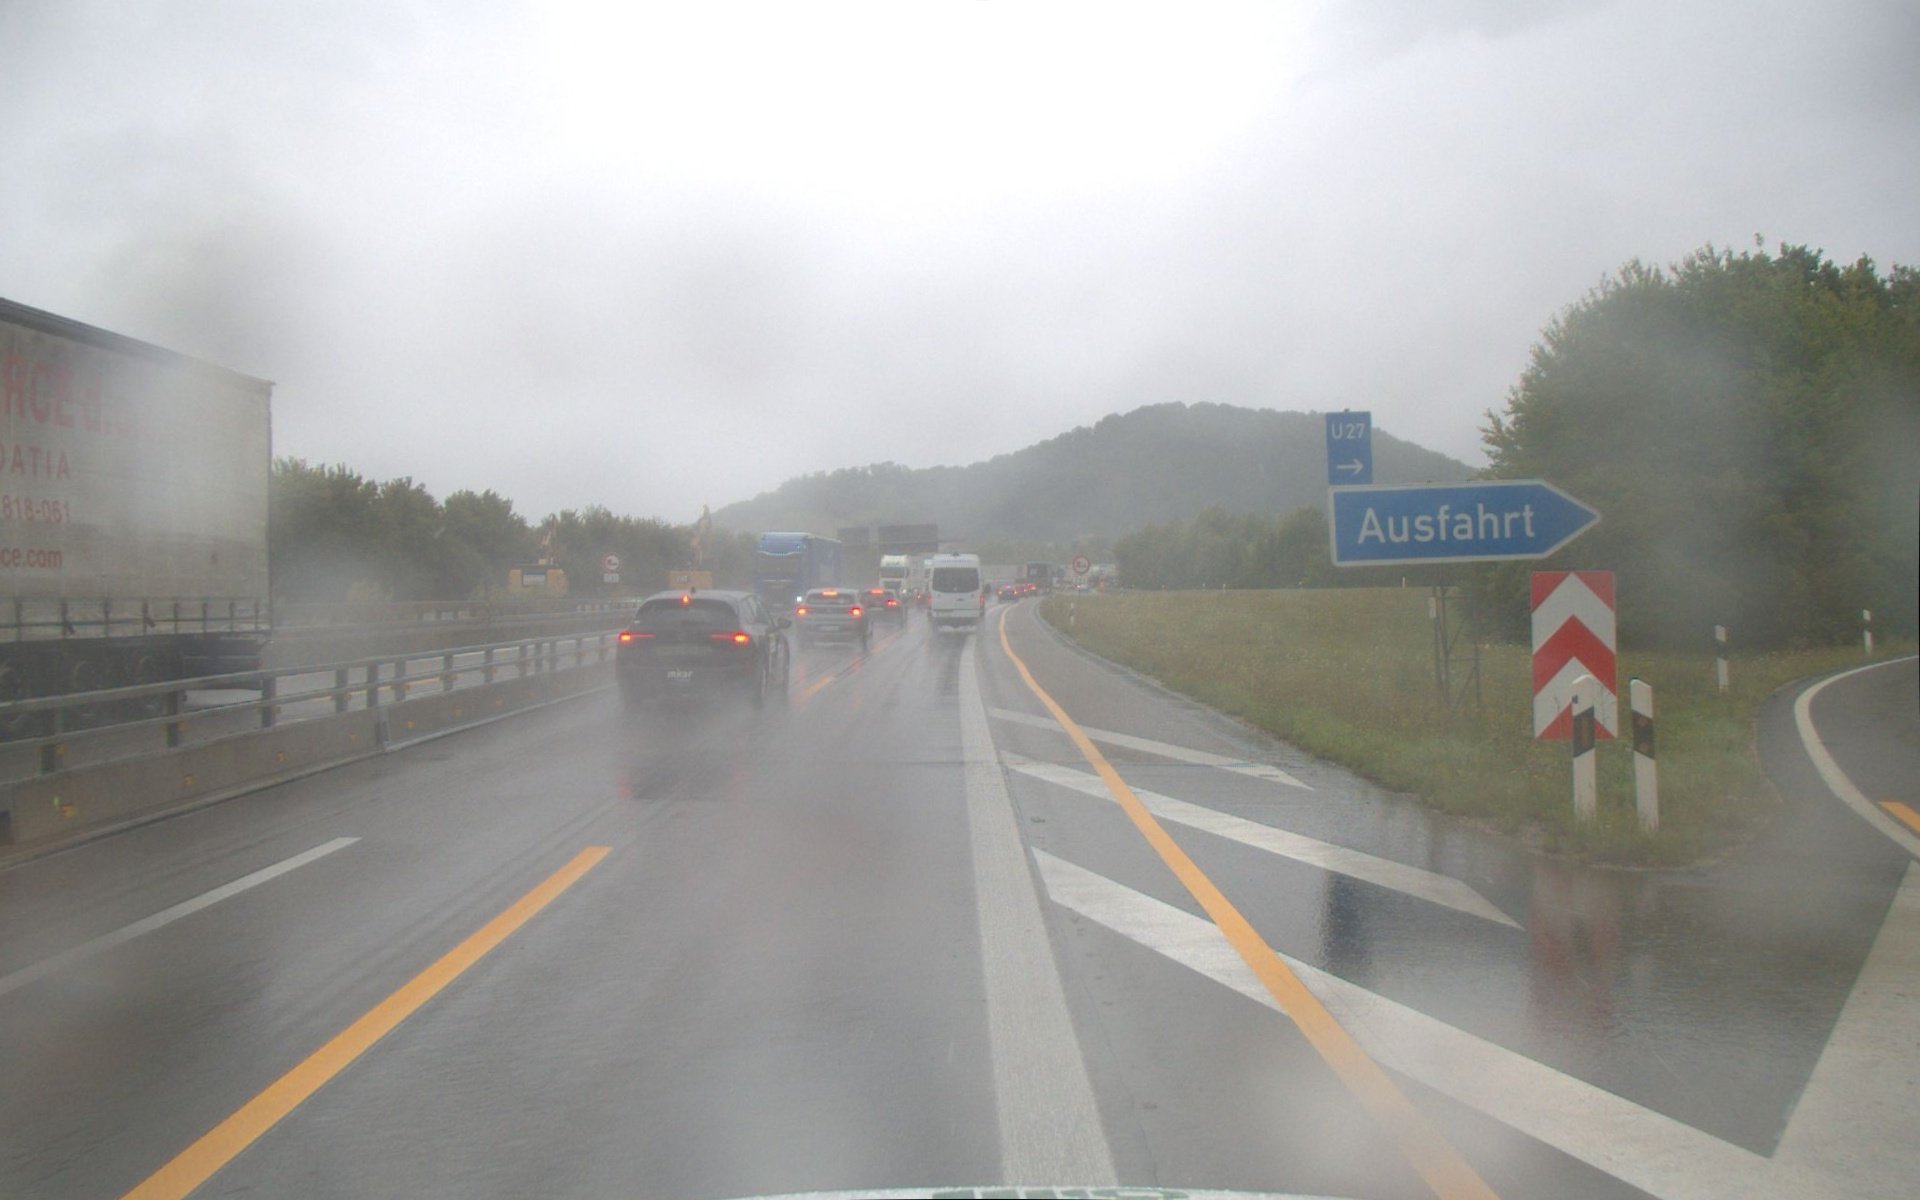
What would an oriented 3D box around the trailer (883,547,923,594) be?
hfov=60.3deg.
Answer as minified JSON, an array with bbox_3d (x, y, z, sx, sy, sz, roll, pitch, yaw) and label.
[{"bbox_3d":[-5.184,-2.771,153.080,2.442,4.119,12.594,-1,1,4],"label":"trailer"}]

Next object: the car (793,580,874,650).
[{"bbox_3d":[-3.193,0.353,42.305,1.829,1.688,3.987,0,0,-1],"label":"car"}]

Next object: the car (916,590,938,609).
[{"bbox_3d":[-1.901,-0.056,95.779,1.237,1.097,3.254,0,0,0],"label":"car"}]

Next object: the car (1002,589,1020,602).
[{"bbox_3d":[4.385,-0.412,143.320,1.356,1.097,3.122,0,0,-2],"label":"car"}]

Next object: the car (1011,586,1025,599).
[{"bbox_3d":[5.942,-0.746,169.204,1.356,1.278,3.123,0,0,1],"label":"car"}]

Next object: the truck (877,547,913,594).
[{"bbox_3d":[-5.683,-2.630,146.259,2.431,4.101,6.452,0,1,4],"label":"truck"}]

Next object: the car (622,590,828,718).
[{"bbox_3d":[-2.870,0.600,21.218,1.899,1.452,4.760,0,0,1],"label":"car"}]

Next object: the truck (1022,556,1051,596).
[{"bbox_3d":[9.861,-3.031,211.945,3.250,4.868,9.912,1,0,5],"label":"truck"}]

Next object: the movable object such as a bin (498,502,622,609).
[{"bbox_3d":[-23.726,-2.528,99.005,4.083,6.018,11.050,1,0,3],"label":"movable object such as a bin"}]

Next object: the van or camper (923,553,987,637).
[{"bbox_3d":[-0.204,-0.179,56.862,2.096,2.769,4.647,0,0,-2],"label":"van or camper"}]

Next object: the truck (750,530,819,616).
[{"bbox_3d":[-8.772,-1.361,83.353,2.569,4.153,6.671,0,1,1],"label":"truck"}]

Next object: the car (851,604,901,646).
[{"bbox_3d":[-3.227,0.932,63.987,1.815,1.527,3.999,0,0,-2],"label":"car"}]

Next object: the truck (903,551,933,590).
[{"bbox_3d":[-4.493,-3.184,178.496,2.824,4.173,6.928,0,1,2],"label":"truck"}]

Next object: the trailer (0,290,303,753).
[{"bbox_3d":[-9.744,-0.708,15.214,2.559,4.077,11.927,1,0,0],"label":"trailer"}]
